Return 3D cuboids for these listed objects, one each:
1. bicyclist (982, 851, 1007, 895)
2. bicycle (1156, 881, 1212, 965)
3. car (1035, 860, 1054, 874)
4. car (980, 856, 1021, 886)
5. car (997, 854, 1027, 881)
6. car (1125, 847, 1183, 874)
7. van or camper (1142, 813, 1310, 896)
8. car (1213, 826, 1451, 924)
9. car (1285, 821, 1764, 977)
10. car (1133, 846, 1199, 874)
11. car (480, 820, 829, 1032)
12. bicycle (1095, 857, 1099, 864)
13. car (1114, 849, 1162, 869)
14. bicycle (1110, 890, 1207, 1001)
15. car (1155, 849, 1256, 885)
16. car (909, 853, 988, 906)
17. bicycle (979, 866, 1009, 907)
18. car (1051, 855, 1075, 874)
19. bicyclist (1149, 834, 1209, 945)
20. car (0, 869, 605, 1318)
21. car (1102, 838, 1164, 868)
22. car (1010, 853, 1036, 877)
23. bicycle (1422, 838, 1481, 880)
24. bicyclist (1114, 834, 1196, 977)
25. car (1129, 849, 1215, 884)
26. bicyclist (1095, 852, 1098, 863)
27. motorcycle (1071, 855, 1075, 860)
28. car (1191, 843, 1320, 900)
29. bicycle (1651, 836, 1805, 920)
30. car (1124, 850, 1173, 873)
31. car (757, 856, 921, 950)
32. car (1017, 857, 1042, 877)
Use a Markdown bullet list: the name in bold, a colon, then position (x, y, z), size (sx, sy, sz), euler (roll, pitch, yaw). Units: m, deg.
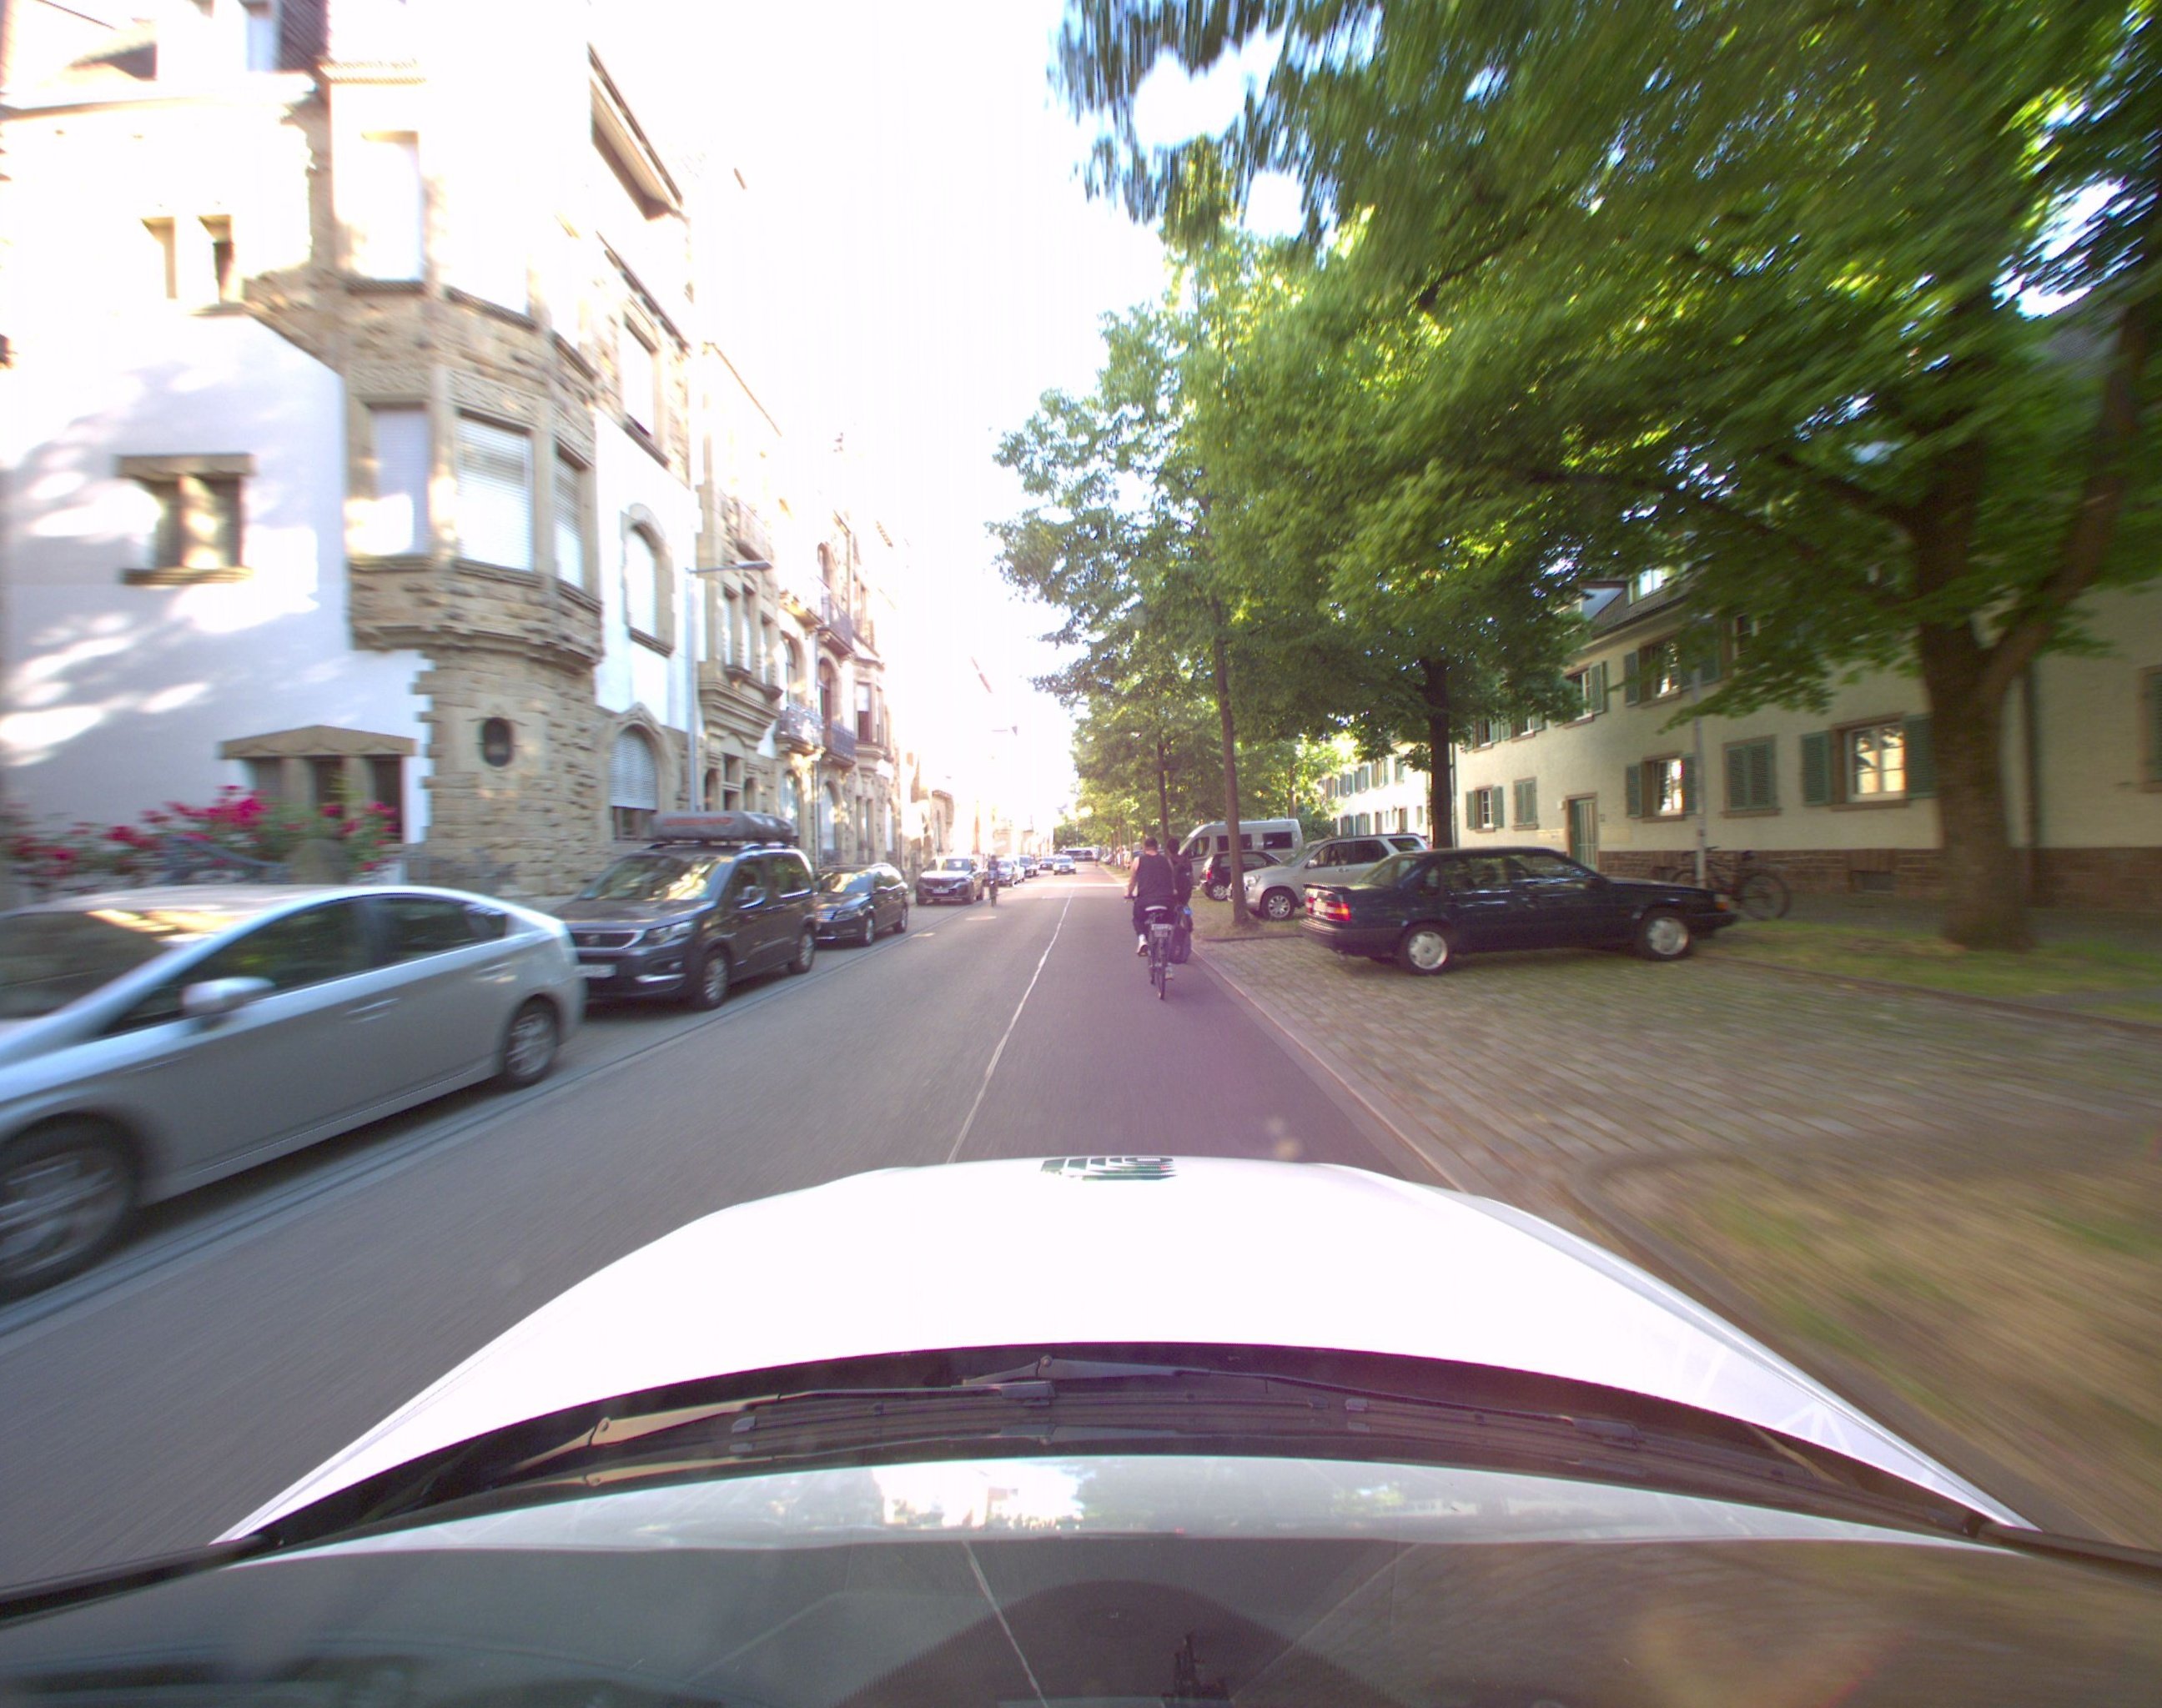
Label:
- **bicyclist**: position (-2.806, 0.606, 26.490), size (0.663, 1.345, 1.059), euler (-3, 0, -3)
- **bicycle**: position (1.491, 0.975, 12.073), size (0.553, 1.073, 1.968), euler (-2, 0, 0)
- **car**: position (-4.025, 1.501, 90.752), size (1.988, 1.486, 3.998), euler (-2, -1, -1)
- **car**: position (-4.358, 0.912, 44.660), size (1.749, 1.517, 4.114), euler (2, -1, 0)
- **car**: position (-4.197, 0.829, 49.968), size (1.486, 1.517, 3.775), euler (2, -1, 0)
- **car**: position (5.548, 0.525, 62.411), size (4.228, 1.840, 1.855), euler (-3, -1, 1)
- **van or camper**: position (5.194, 0.025, 29.790), size (5.559, 2.536, 2.267), euler (-4, -1, -2)
- **car**: position (5.283, 0.417, 17.562), size (4.464, 1.669, 1.941), euler (-4, 1, -2)
- **car**: position (5.259, 0.515, 10.142), size (4.880, 1.442, 1.941), euler (-4, -1, -2)
- **car**: position (5.699, 0.431, 55.003), size (4.228, 1.647, 1.855), euler (-3, -1, 1)
- **car**: position (-4.701, 0.666, 9.913), size (1.963, 1.974, 4.495), euler (0, 0, -2)
- **bicycle**: position (1.892, 0.768, 96.705), size (0.539, 0.828, 1.919), euler (-1, -1, 1)
- **car**: position (5.742, 0.541, 83.036), size (4.740, 1.780, 1.855), euler (-3, -1, 1)
- **bicycle**: position (0.833, 0.980, 9.362), size (0.695, 1.073, 1.964), euler (-1, -1, -6)
- **car**: position (5.763, 0.607, 38.115), size (4.486, 1.453, 1.816), euler (-2, -1, 1)
- **car**: position (-4.468, 0.855, 28.125), size (2.044, 1.622, 4.392), euler (-2, -1, -2)
- **bicycle**: position (-2.820, 1.041, 26.554), size (0.751, 1.178, 2.618), euler (-3, 0, -3)
- **car**: position (-1.533, 0.919, 68.670), size (1.892, 1.486, 4.377), euler (-1, -1, -3)
- **bicyclist**: position (1.416, 0.504, 11.897), size (0.716, 1.527, 0.972), euler (-2, -1, 0)
- **car**: position (-4.692, 0.879, 4.388), size (1.725, 1.499, 4.452), euler (0, 0, -2)
- **car**: position (6.299, -0.105, 99.757), size (7.306, 3.282, 2.223), euler (-3, -1, 1)
- **car**: position (-4.255, 0.822, 59.758), size (1.626, 1.665, 3.967), euler (-2, -1, -1)
- **bicycle**: position (12.888, 0.165, 28.420), size (0.800, 1.399, 1.996), euler (-2, 0, -12)
- **bicyclist**: position (0.831, 0.567, 9.335), size (0.705, 1.527, 0.969), euler (-1, -1, -8)
- **car**: position (4.767, 0.662, 43.117), size (4.233, 1.606, 1.752), euler (-3, -1, -3)
- **bicyclist**: position (1.852, 0.392, 96.950), size (0.415, 1.350, 0.430), euler (-2, -1, 0)
- **motorcycle**: position (-1.365, 0.650, 138.174), size (0.549, 0.801, 1.307), euler (-2, 0, -2)
- **car**: position (5.213, 0.527, 24.678), size (3.490, 1.472, 1.751), euler (-3, -1, -1)
- **bicycle**: position (9.726, 0.331, 12.357), size (0.627, 1.163, 1.930), euler (-1, 0, -7)
- **car**: position (6.015, 0.680, 72.938), size (4.228, 1.797, 1.855), euler (-3, -1, 1)
- **car**: position (-4.644, 0.893, 16.405), size (1.723, 1.574, 4.710), euler (-2, -1, 2)
- **car**: position (-4.108, 1.005, 65.134), size (1.610, 1.482, 4.018), euler (2, -1, 0)
